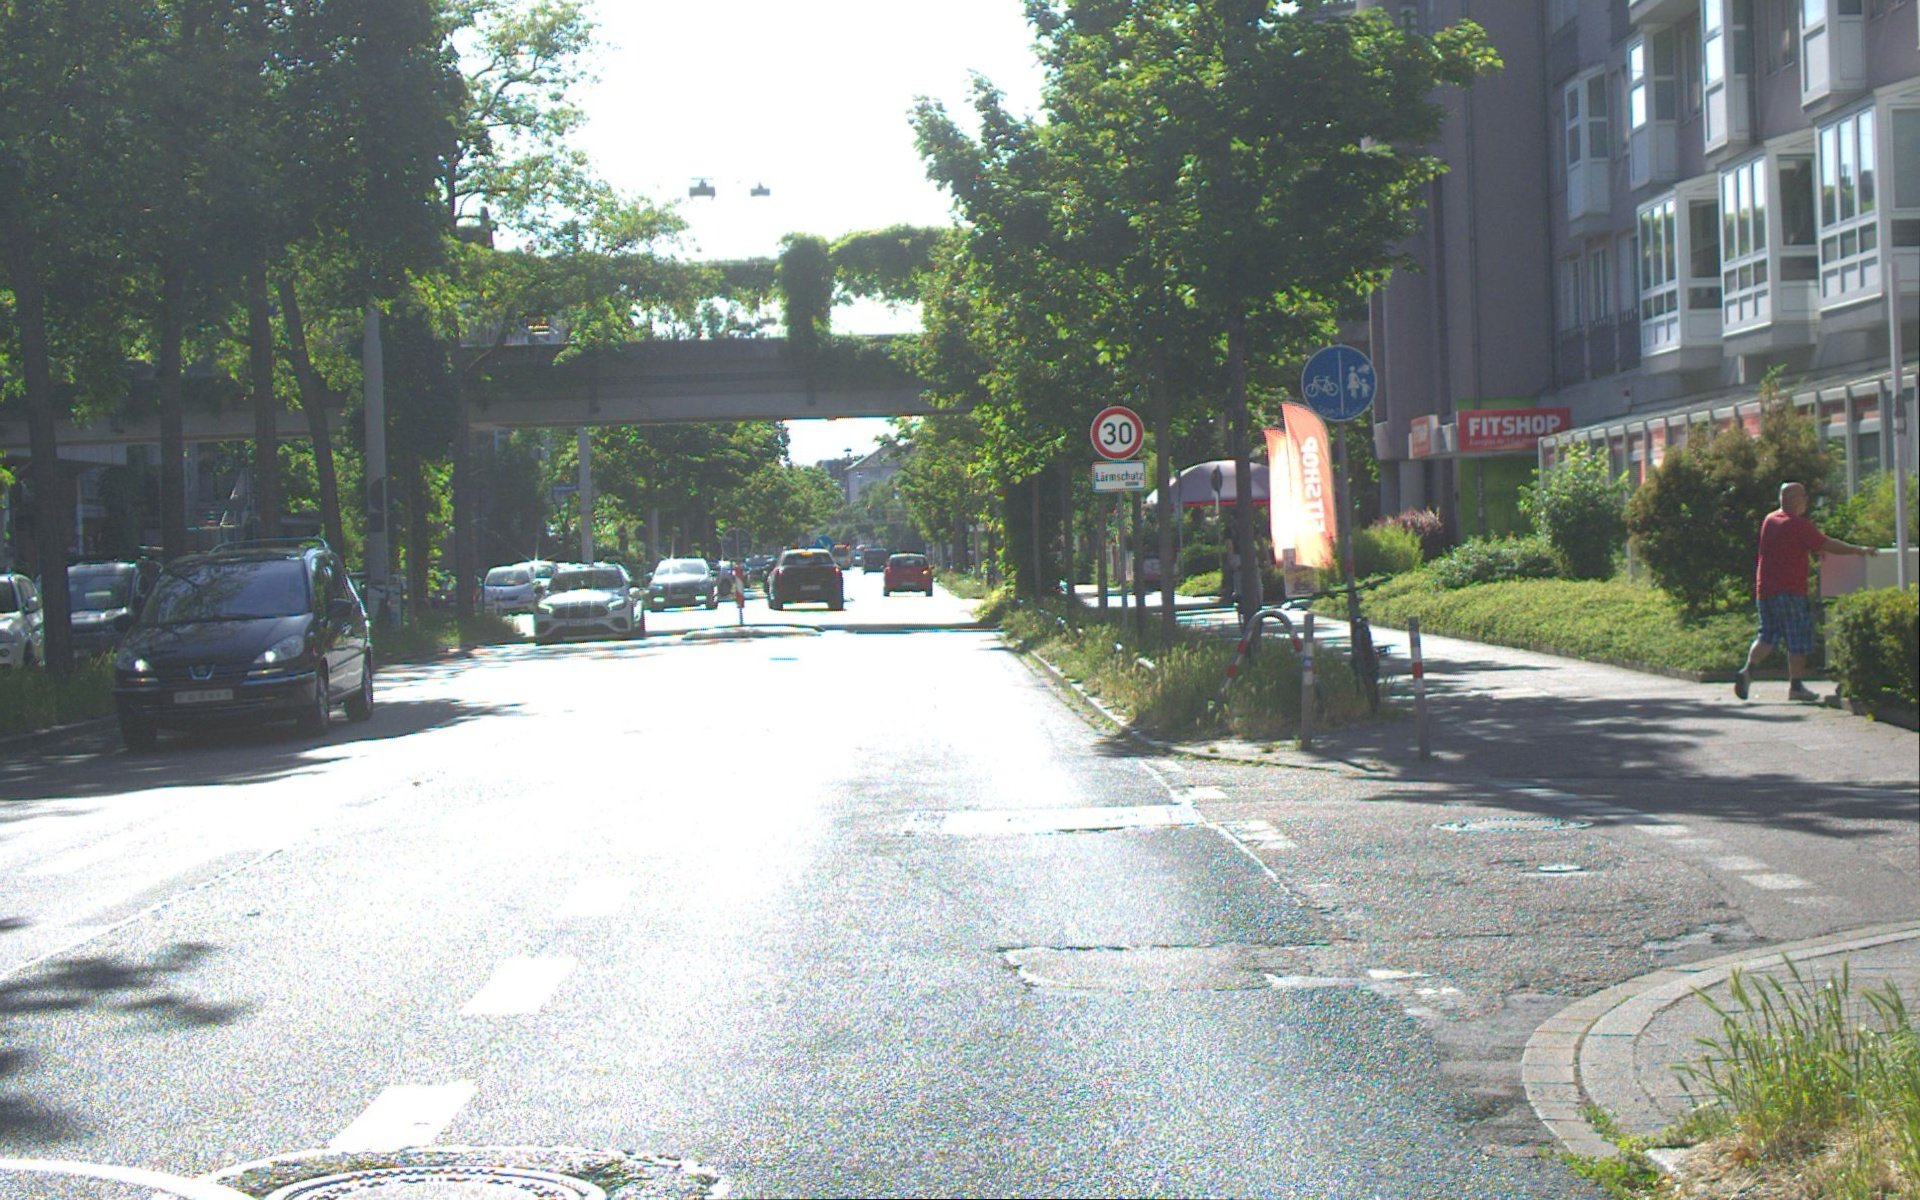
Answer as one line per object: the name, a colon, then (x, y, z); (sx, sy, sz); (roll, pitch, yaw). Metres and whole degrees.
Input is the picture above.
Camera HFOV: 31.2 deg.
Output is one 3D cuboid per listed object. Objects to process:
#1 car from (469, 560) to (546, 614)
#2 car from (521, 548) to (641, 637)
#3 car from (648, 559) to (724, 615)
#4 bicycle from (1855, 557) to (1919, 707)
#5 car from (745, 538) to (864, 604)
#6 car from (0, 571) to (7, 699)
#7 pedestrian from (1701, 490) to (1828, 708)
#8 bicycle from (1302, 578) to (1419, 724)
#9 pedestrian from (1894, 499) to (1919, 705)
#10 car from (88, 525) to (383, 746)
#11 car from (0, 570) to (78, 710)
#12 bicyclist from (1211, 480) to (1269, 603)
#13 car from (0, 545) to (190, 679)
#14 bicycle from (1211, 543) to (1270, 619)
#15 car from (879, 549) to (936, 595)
car: (-13.320, -0.388, 101.344); (1.855, 1.518, 4.078); (-1, 1, -2)
car: (-7.299, -0.178, 66.614); (1.855, 1.563, 4.716); (-3, 1, -2)
car: (-7.664, -0.381, 96.395); (1.855, 1.435, 4.319); (-3, 1, -2)
bicycle: (7.731, 0.181, 25.067); (2.196, 1.024, 0.687); (-3, 3, 1)
car: (-4.014, -0.749, 87.991); (1.984, 1.595, 4.142); (-2, 1, -18)
car: (-12.356, 0.455, 39.113); (1.856, 1.518, 4.063); (-1, 1, 0)
pedestrian: (6.139, -0.006, 26.267); (0.653, 1.598, 0.603); (-5, 0, -6)
bicycle: (3.174, 0.387, 27.125); (0.591, 1.062, 2.021); (-1, 1, 15)
pedestrian: (7.729, -0.007, 26.618); (0.653, 1.598, 0.603); (-5, 0, -6)
car: (-6.702, 0.274, 32.288); (1.855, 1.819, 4.610); (-3, 1, -2)
car: (-12.617, 0.478, 44.155); (1.855, 1.678, 4.666); (-1, 1, -6)
bicyclist: (3.902, -0.809, 47.993); (0.667, 1.689, 0.889); (-1, 0, -2)
car: (-12.599, 0.129, 50.077); (1.855, 1.843, 4.562); (-1, 1, -2)
bicycle: (3.905, -0.265, 47.932); (0.589, 1.024, 1.860); (-2, 0, -2)
car: (-1.812, -0.992, 120.302); (1.856, 1.518, 4.319); (-1, 1, 0)
